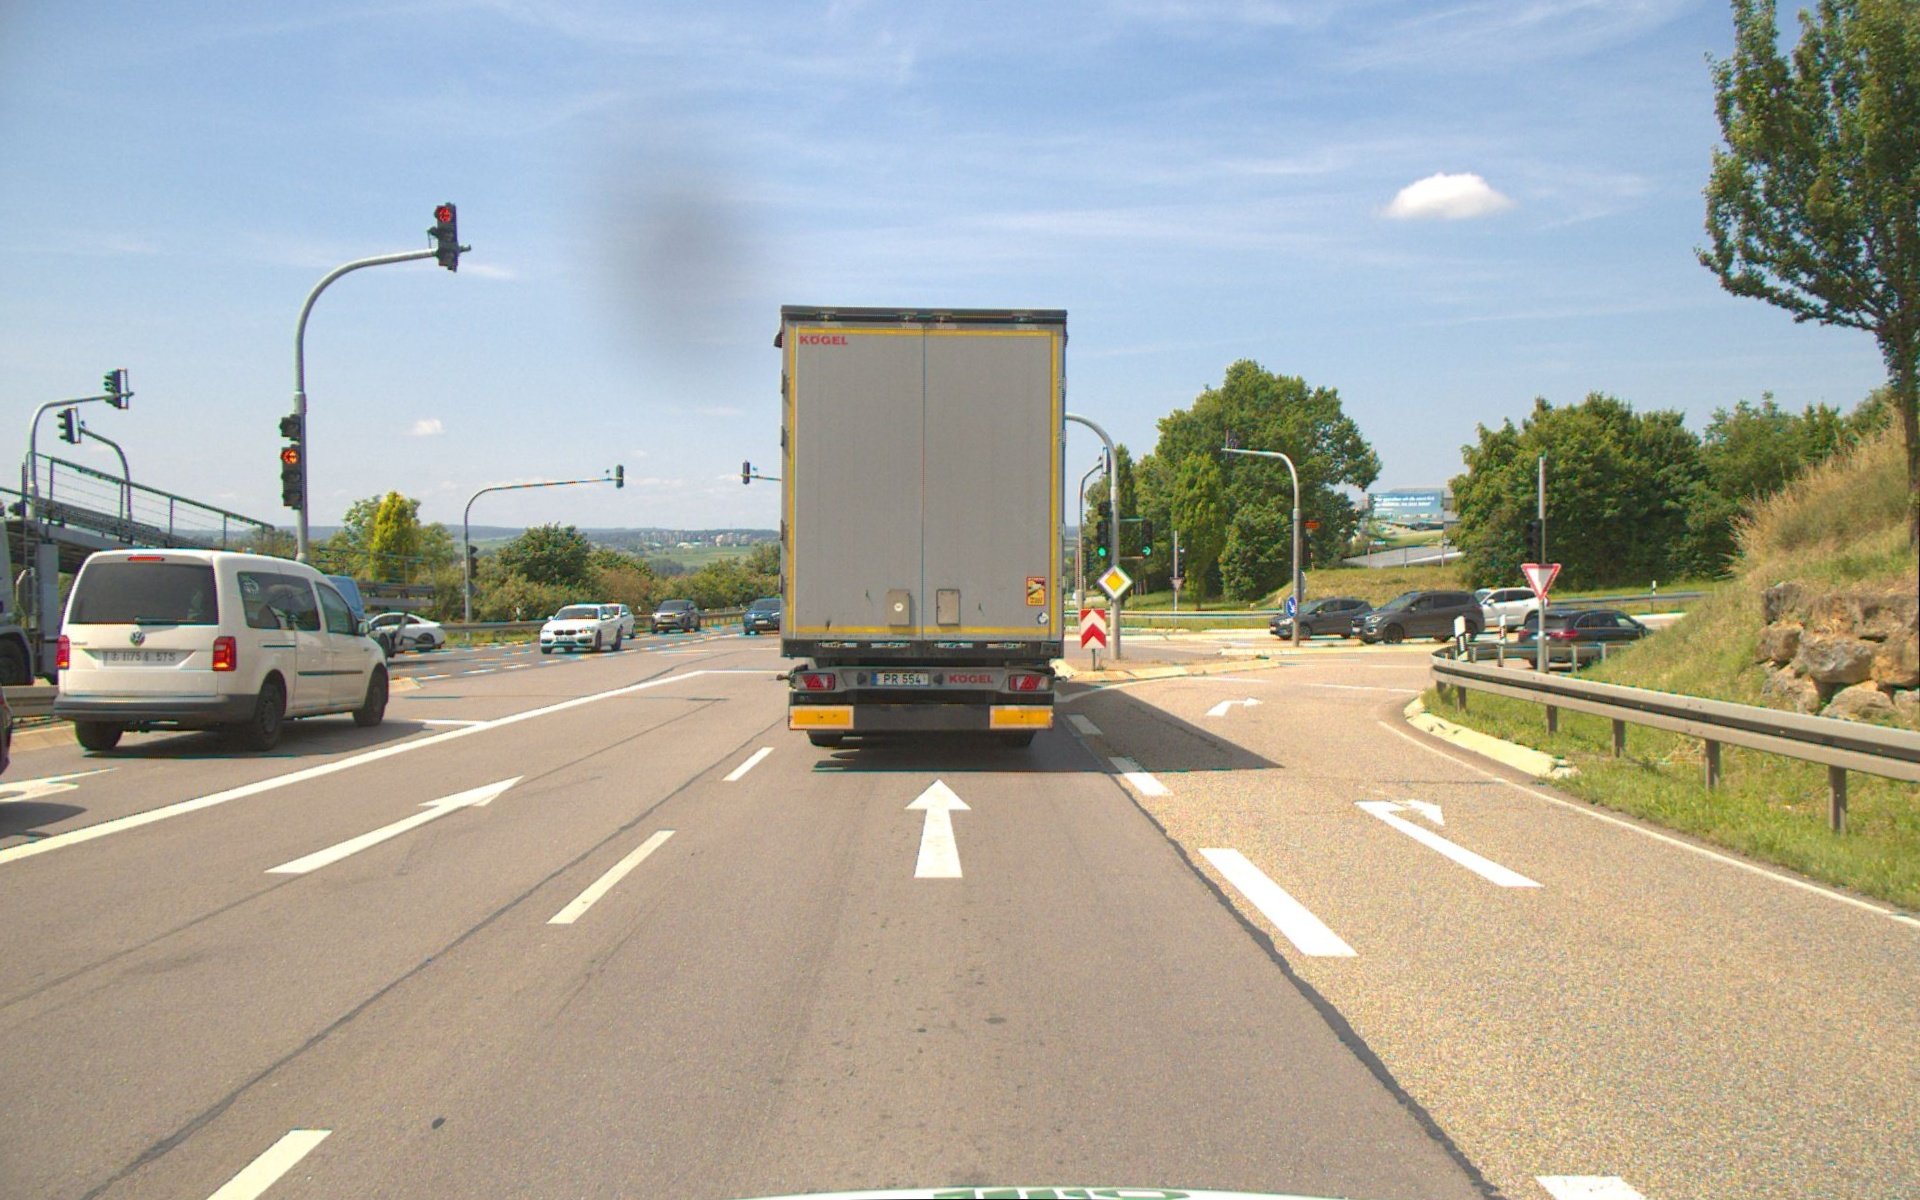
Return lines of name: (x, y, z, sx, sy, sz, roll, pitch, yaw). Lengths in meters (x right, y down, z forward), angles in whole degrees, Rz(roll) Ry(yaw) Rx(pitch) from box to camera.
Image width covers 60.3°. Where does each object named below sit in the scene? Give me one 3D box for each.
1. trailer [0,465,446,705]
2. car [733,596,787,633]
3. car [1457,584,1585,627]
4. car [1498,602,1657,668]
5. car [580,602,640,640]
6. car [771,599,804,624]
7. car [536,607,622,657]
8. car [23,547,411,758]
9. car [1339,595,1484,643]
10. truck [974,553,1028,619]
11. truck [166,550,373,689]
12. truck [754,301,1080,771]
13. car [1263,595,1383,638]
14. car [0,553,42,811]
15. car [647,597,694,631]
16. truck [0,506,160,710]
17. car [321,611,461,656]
trailer: (-15.753, -0.139, 36.408, 2.585, 3.829, 19.798, 0, -1, 0)
car: (-8.577, 0.645, 71.211, 1.719, 1.494, 4.196, 2, -1, 1)
car: (21.176, 0.204, 62.522, 4.278, 1.620, 1.776, 0, -1, -10)
car: (15.390, 0.868, 41.156, 4.252, 1.559, 1.728, 1, -1, -37)
car: (-14.816, 0.867, 70.153, 1.610, 1.523, 3.802, -2, -1, 1)
car: (-11.107, 0.711, 106.754, 1.610, 1.523, 4.066, -2, 0, 1)
car: (-11.718, 0.956, 51.076, 1.736, 1.459, 3.999, -1, -1, -1)
car: (-7.309, 0.461, 16.895, 1.731, 1.830, 4.752, 1, 0, 1)
car: (14.782, 0.605, 54.205, 4.280, 1.537, 1.711, 0, -1, -11)
truck: (2.588, -0.764, 100.862, 2.599, 3.830, 10.167, 1, -1, 5)
truck: (-11.858, 0.329, 28.754, 1.927, 2.195, 4.619, -1, -1, -4)
truck: (-0.591, -0.540, 19.897, 2.743, 3.998, 11.336, 1, 0, -2)
car: (13.237, 0.609, 60.391, 3.914, 1.537, 1.712, 0, -1, -10)
car: (-7.120, 0.525, 9.096, 1.818, 1.686, 4.346, 1, 0, -2)
car: (-14.643, 0.711, 83.836, 1.610, 1.652, 4.327, -2, -1, 0)
truck: (-15.782, 0.147, 26.793, 2.742, 3.066, 5.989, 0, -1, 0)
car: (-19.772, 1.163, 57.613, 1.602, 1.485, 4.471, 0, -1, 39)
